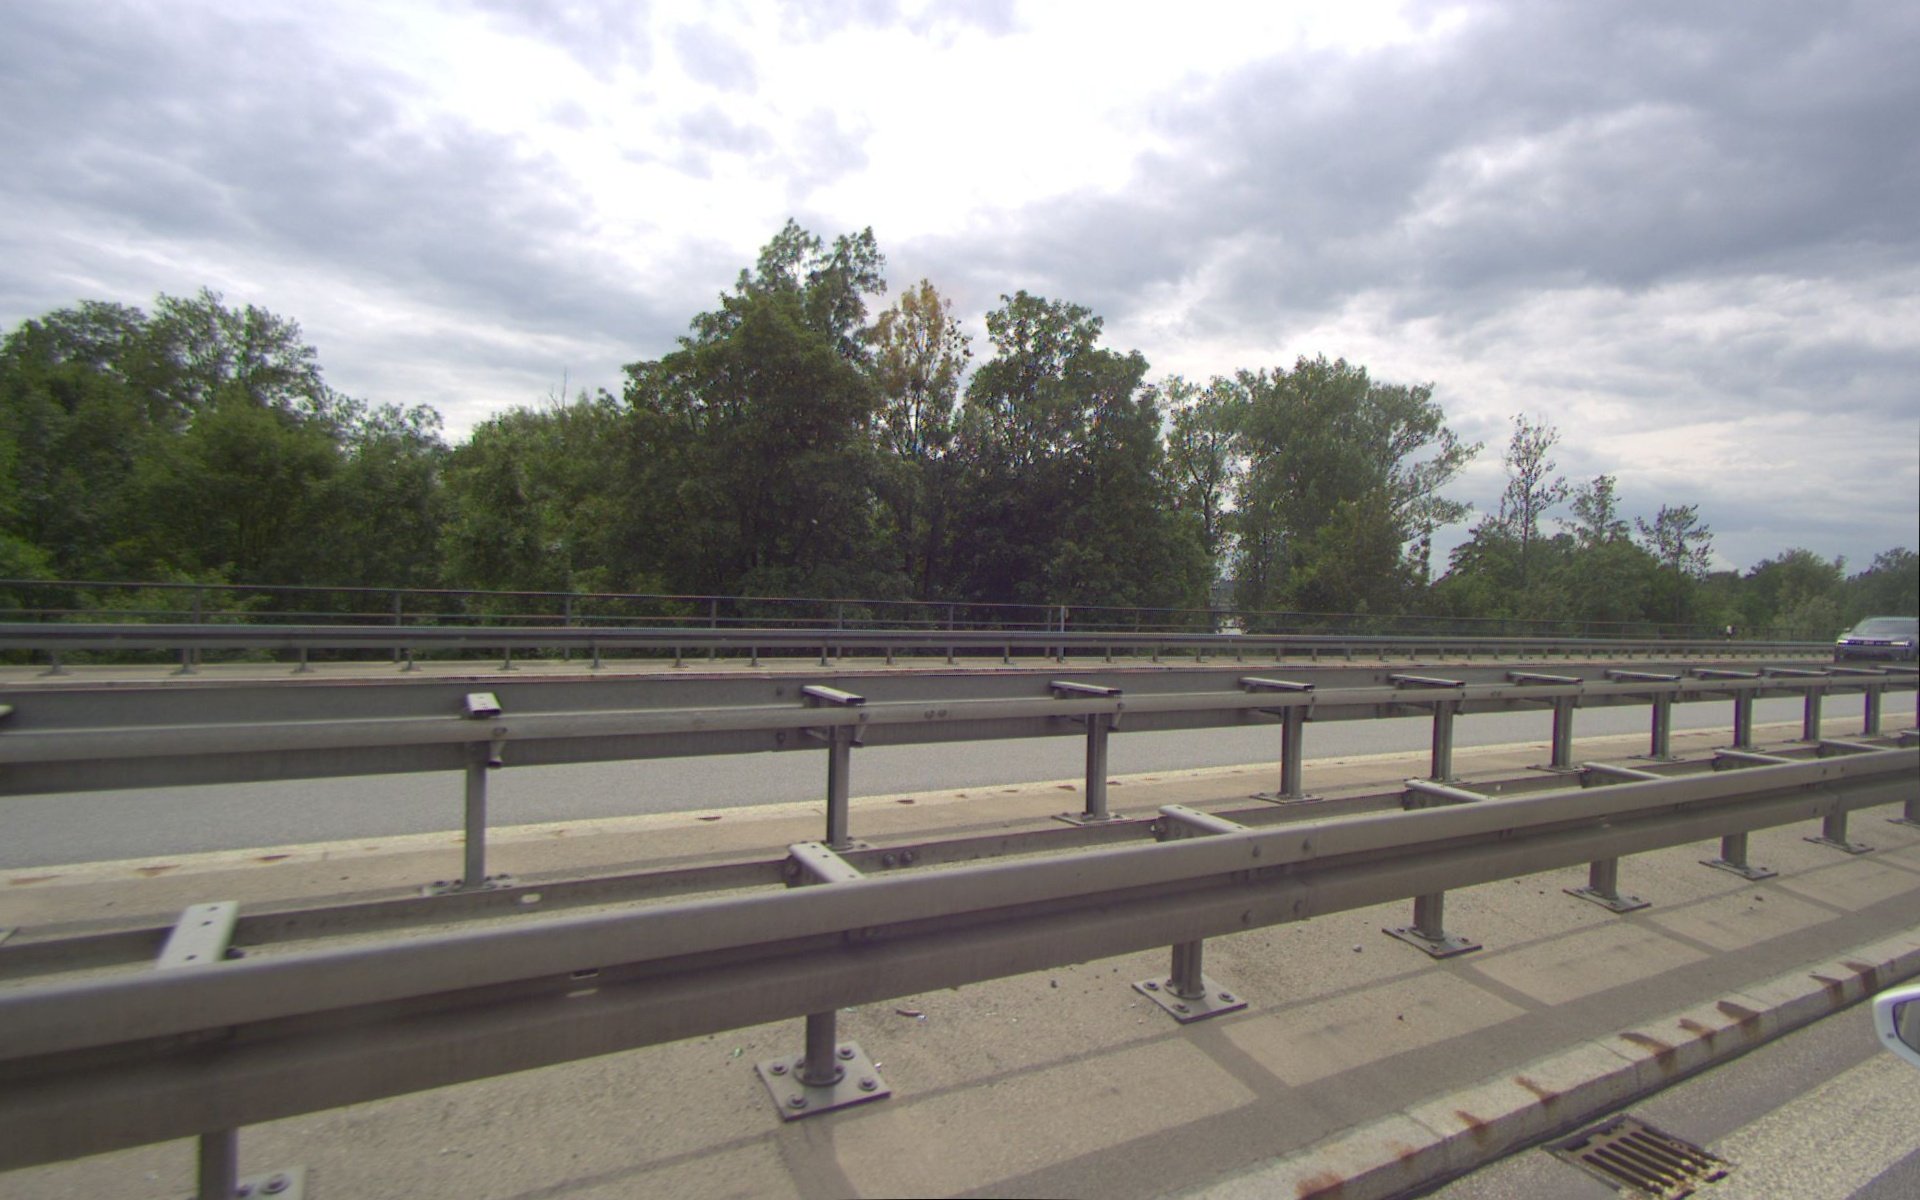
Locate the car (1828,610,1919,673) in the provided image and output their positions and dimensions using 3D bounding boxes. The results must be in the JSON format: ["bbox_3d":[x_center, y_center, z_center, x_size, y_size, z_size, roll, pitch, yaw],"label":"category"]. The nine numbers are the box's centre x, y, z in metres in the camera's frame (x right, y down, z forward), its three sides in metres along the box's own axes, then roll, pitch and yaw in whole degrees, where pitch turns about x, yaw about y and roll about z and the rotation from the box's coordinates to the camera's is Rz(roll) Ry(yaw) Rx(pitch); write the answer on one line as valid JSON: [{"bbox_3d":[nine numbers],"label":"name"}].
[{"bbox_3d":[27.119,1.189,29.138,4.518,1.662,1.700,2,0,-32],"label":"car"}]
